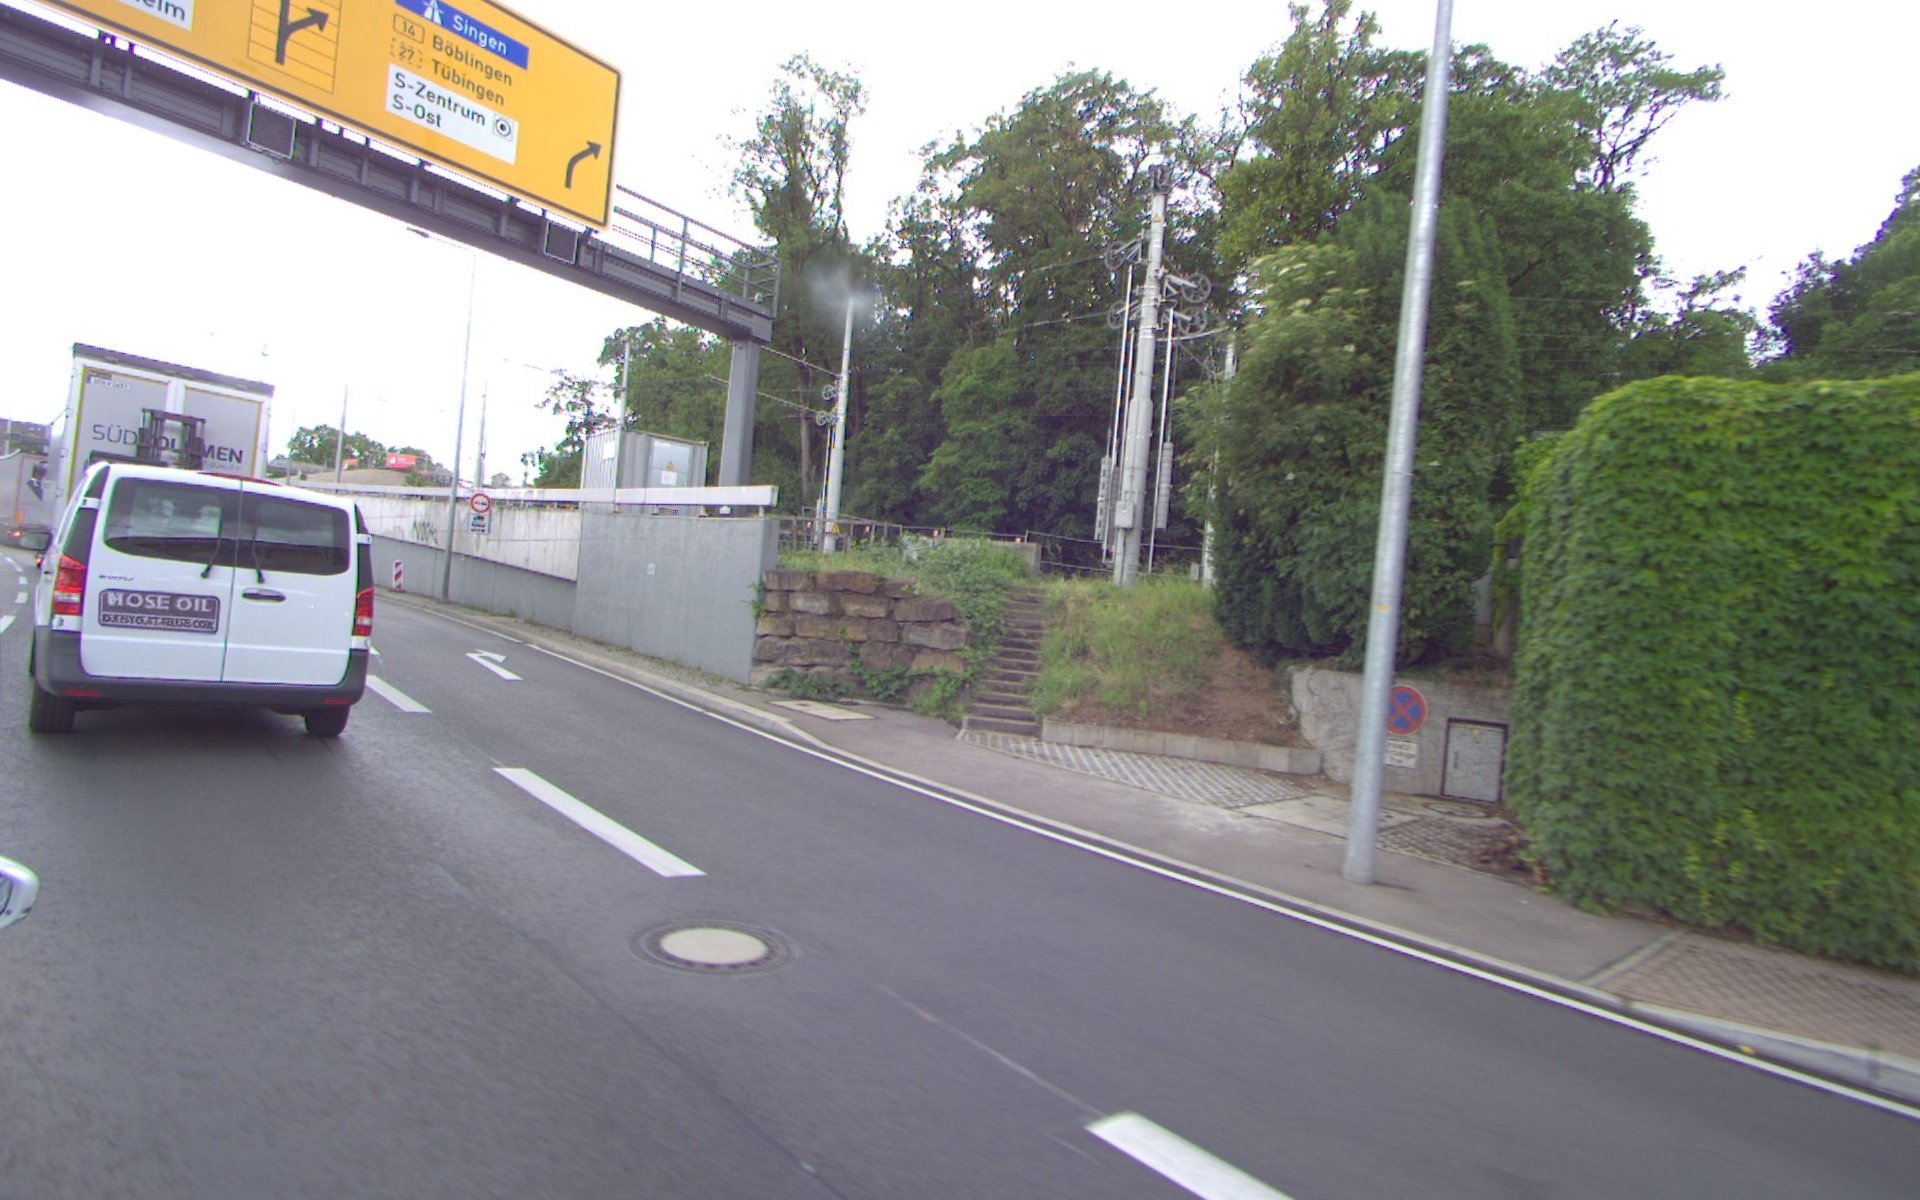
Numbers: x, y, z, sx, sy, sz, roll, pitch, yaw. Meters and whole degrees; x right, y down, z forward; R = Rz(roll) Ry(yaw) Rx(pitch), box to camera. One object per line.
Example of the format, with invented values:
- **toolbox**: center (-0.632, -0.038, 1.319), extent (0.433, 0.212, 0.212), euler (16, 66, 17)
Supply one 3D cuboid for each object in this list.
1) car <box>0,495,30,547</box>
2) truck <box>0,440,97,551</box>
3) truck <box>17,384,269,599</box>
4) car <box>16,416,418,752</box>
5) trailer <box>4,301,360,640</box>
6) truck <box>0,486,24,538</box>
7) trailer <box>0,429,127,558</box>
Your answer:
- **car**: center (-57.803, -4.866, 60.431), extent (7.228, 2.805, 2.072), euler (5, -2, 43)
- **truck**: center (-46.816, -5.201, 50.709), extent (7.343, 4.685, 3.800), euler (5, -2, 43)
- **truck**: center (-21.887, -2.638, 26.569), extent (10.844, 4.190, 3.717), euler (5, -2, 45)
- **car**: center (-6.589, -0.134, 8.603), extent (1.988, 2.013, 5.136), euler (8, -2, -43)
- **trailer**: center (-14.611, -1.961, 18.651), extent (3.712, 4.190, 10.858), euler (8, -2, -41)
- **truck**: center (-64.580, -5.931, 67.005), extent (7.330, 3.224, 2.643), euler (4, -1, 44)
- **trailer**: center (-41.795, -4.750, 46.002), extent (11.952, 4.685, 3.800), euler (5, -2, 43)
